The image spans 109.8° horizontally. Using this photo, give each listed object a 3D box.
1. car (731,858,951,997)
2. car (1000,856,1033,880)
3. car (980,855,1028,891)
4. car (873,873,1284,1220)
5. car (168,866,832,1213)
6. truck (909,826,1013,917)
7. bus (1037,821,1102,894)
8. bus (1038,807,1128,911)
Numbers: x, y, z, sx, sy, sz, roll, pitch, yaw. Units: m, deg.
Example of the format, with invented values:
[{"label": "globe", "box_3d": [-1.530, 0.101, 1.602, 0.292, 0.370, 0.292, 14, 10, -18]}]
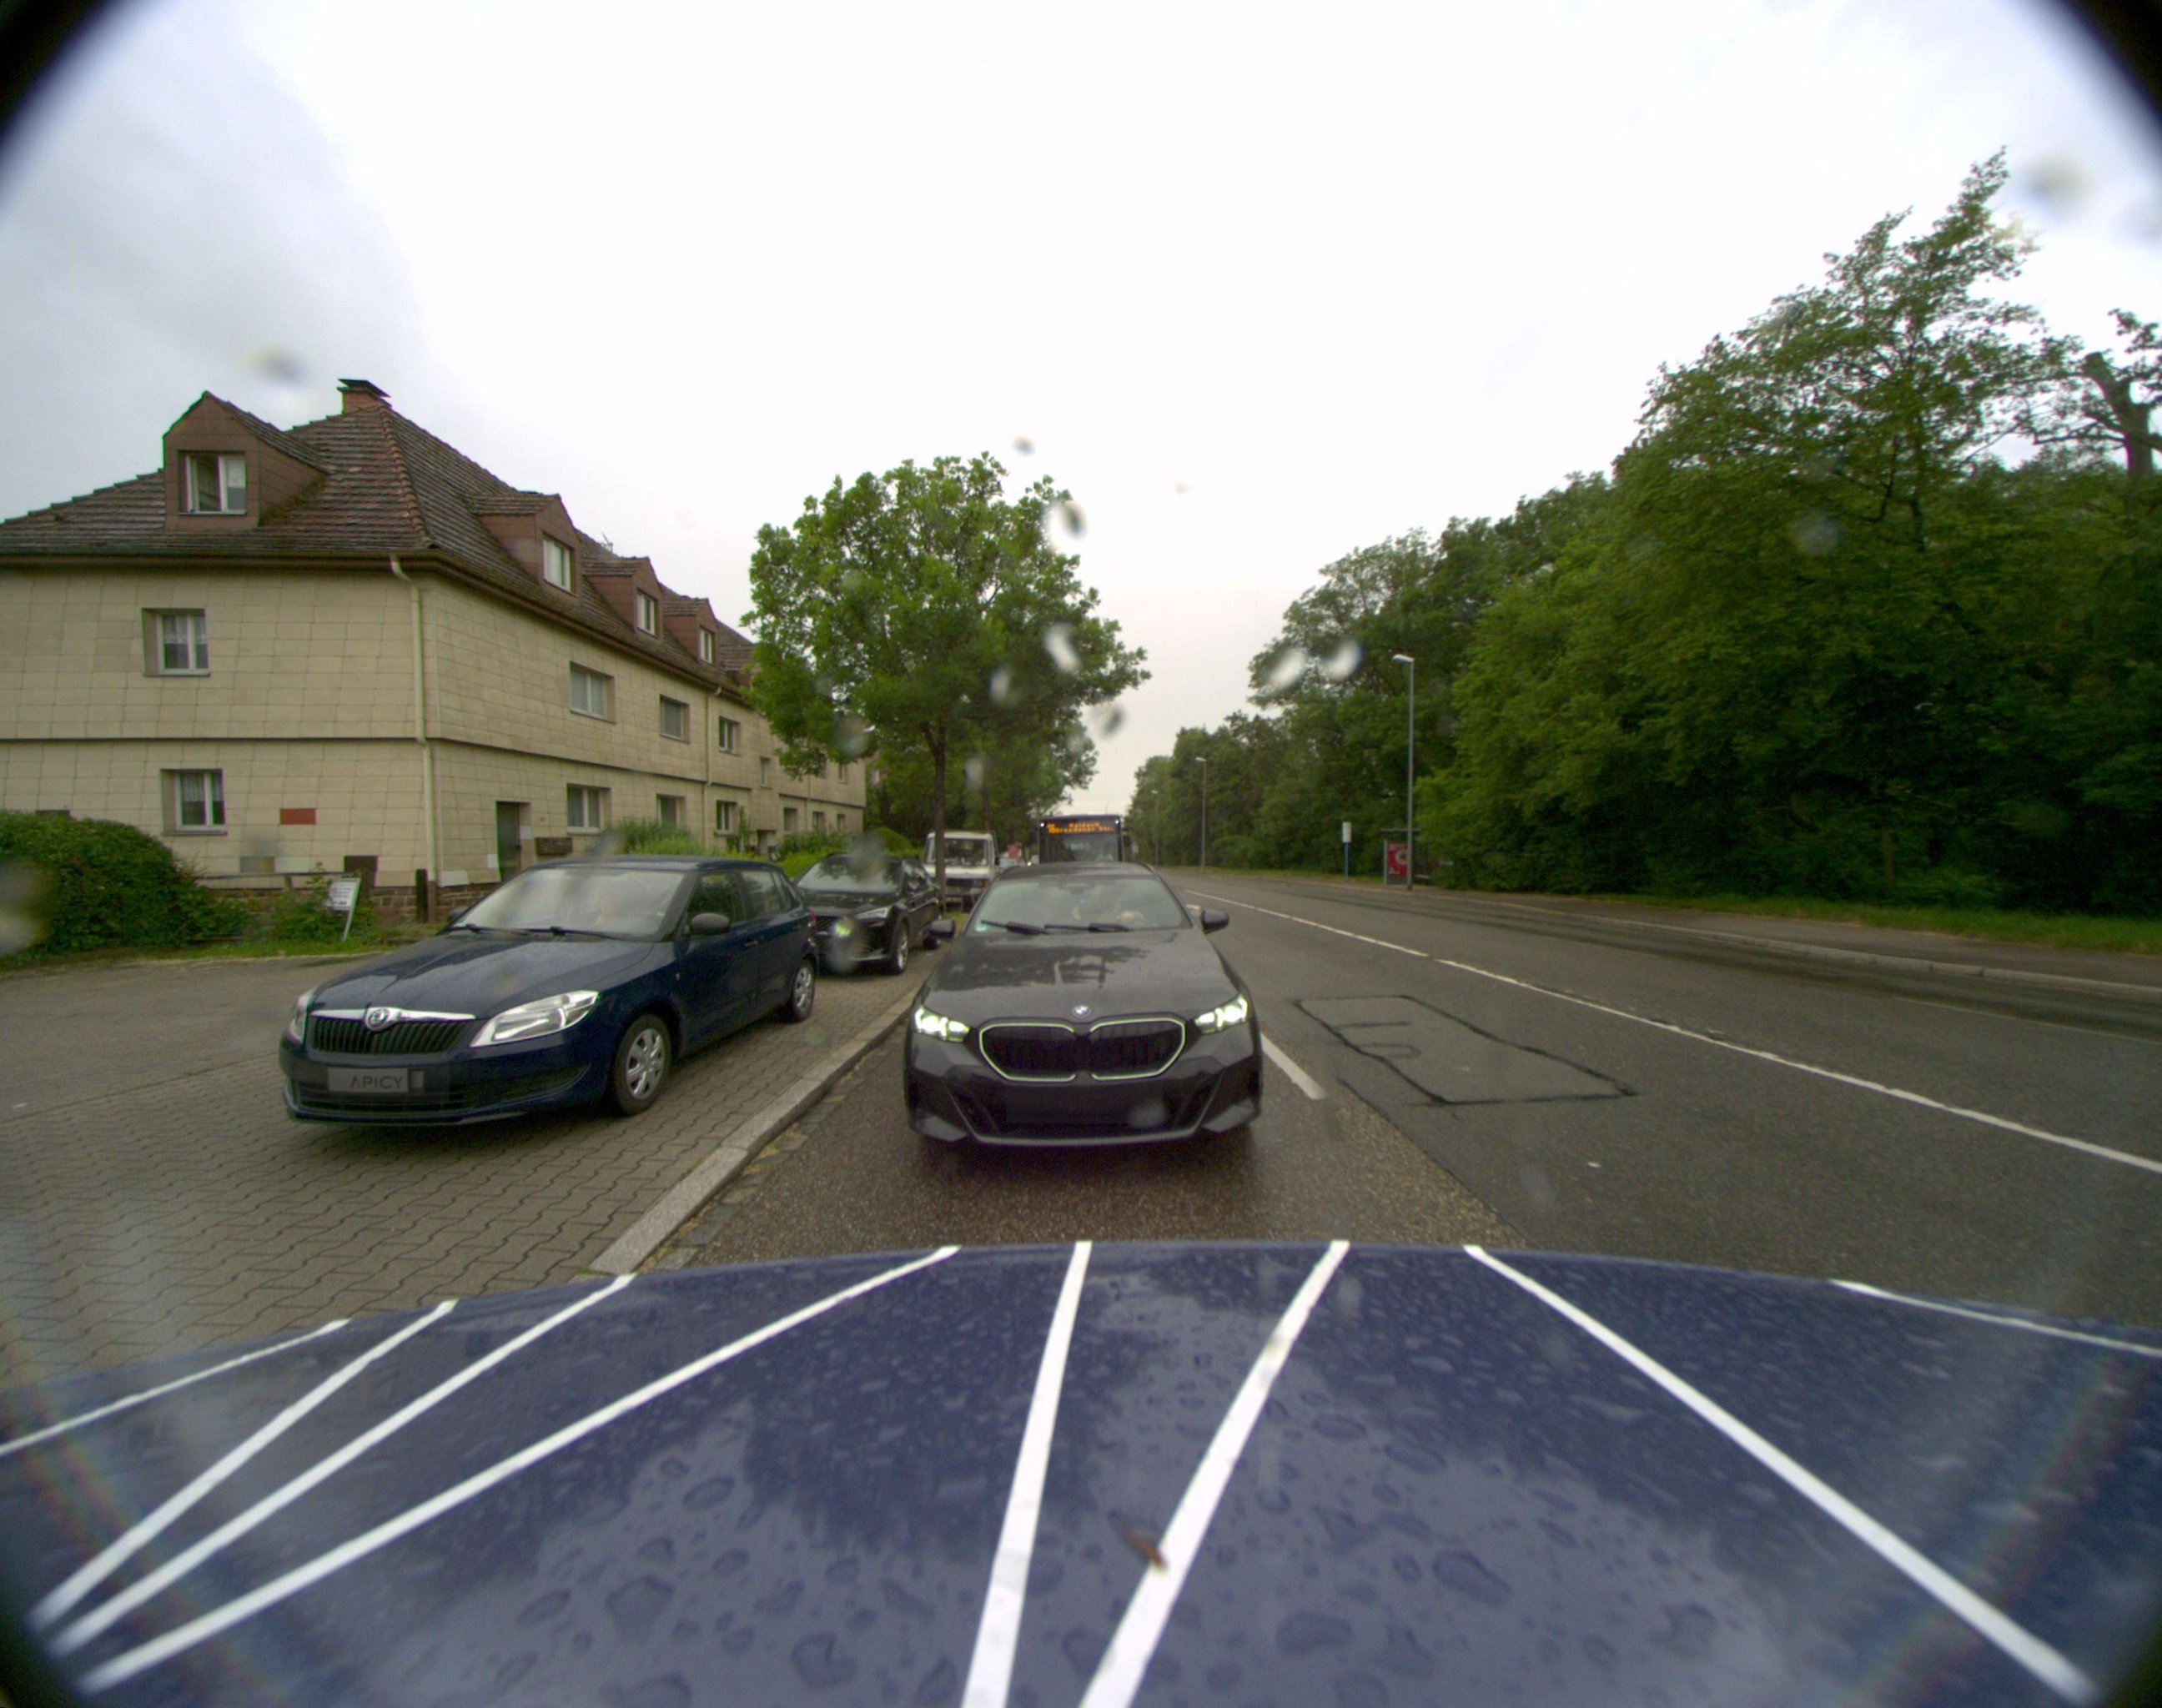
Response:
[{"label": "car", "box_3d": [-3.071, 0.847, 10.675, 1.718, 1.490, 4.183, 2, 0, 0]}, {"label": "car", "box_3d": [-3.939, 0.851, 47.056, 1.692, 1.381, 4.499, 1, 0, -1]}, {"label": "car", "box_3d": [-3.313, 0.877, 33.387, 1.605, 1.427, 4.023, 3, -2, 0]}, {"label": "car", "box_3d": [-0.023, 0.943, 5.743, 1.855, 1.461, 4.483, -1, 0, 0]}, {"label": "car", "box_3d": [-3.221, 0.852, 5.300, 1.608, 1.463, 3.856, 1, 0, 1]}, {"label": "truck", "box_3d": [-3.300, 0.440, 22.298, 2.085, 2.208, 6.500, 2, 0, -1]}, {"label": "bus", "box_3d": [-0.717, 0.149, 35.690, 2.562, 2.942, 8.554, -1, 0, -4]}, {"label": "bus", "box_3d": [-0.214, 0.147, 26.748, 2.563, 2.942, 9.447, -1, 0, -3]}]
